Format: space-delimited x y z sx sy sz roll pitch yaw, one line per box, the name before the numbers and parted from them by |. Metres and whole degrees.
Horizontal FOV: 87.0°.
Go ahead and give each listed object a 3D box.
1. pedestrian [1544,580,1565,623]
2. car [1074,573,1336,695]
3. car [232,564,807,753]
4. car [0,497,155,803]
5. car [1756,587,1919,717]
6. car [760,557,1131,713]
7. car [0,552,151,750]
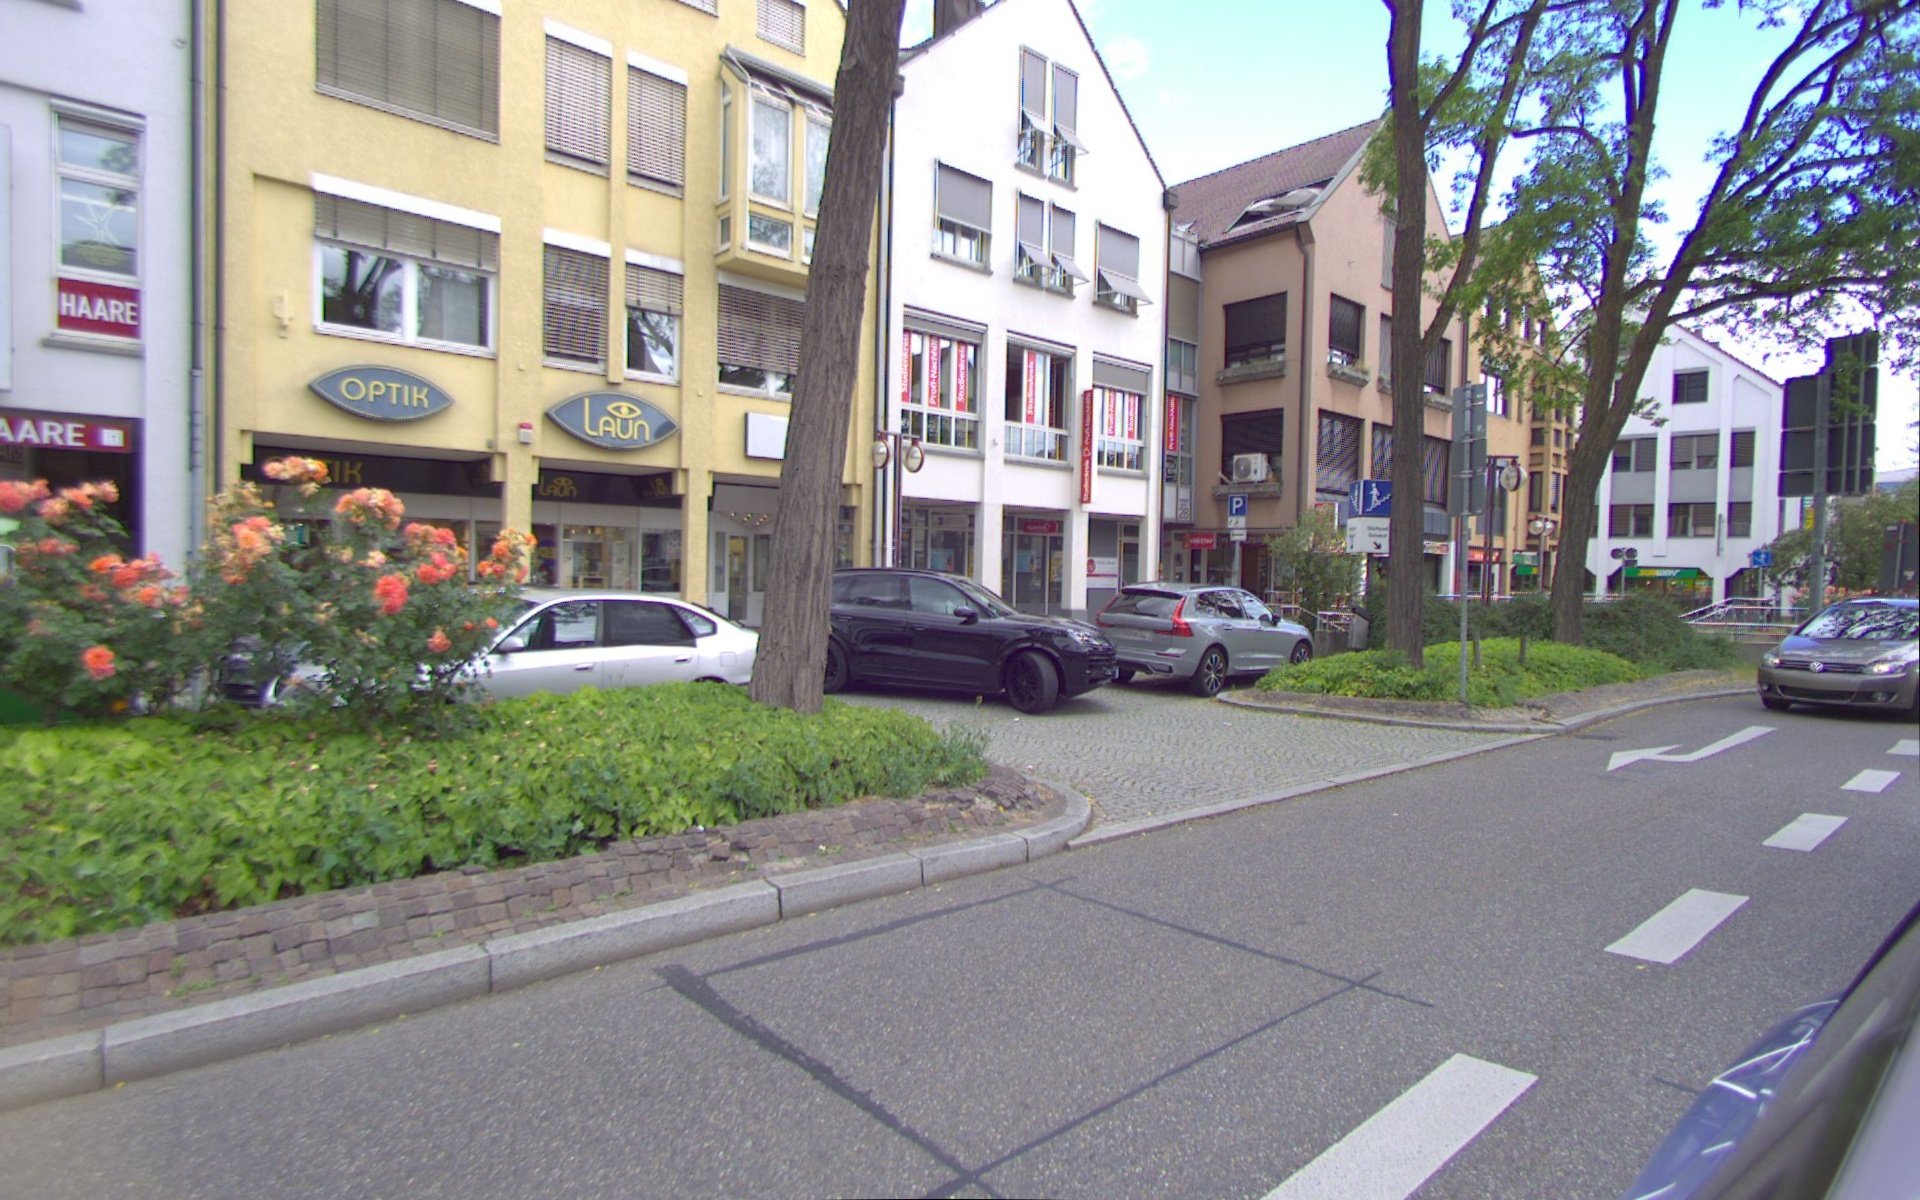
pedestrian | 23.458 0.049 39.936 0.495 1.645 0.494 1 1 4
car | 4.162 0.440 16.732 4.675 1.674 1.996 -1 3 -44
car | -3.930 0.380 9.614 4.674 1.325 1.841 -1 3 -43
car | -7.766 0.273 5.913 4.674 1.899 1.996 -1 3 -43
car | 12.802 0.624 13.910 3.923 1.549 1.803 0 1 -34
car | -0.125 0.380 13.813 4.684 1.700 1.992 3 1 14
car | -9.408 0.394 7.914 4.675 1.566 1.996 -1 3 -44
